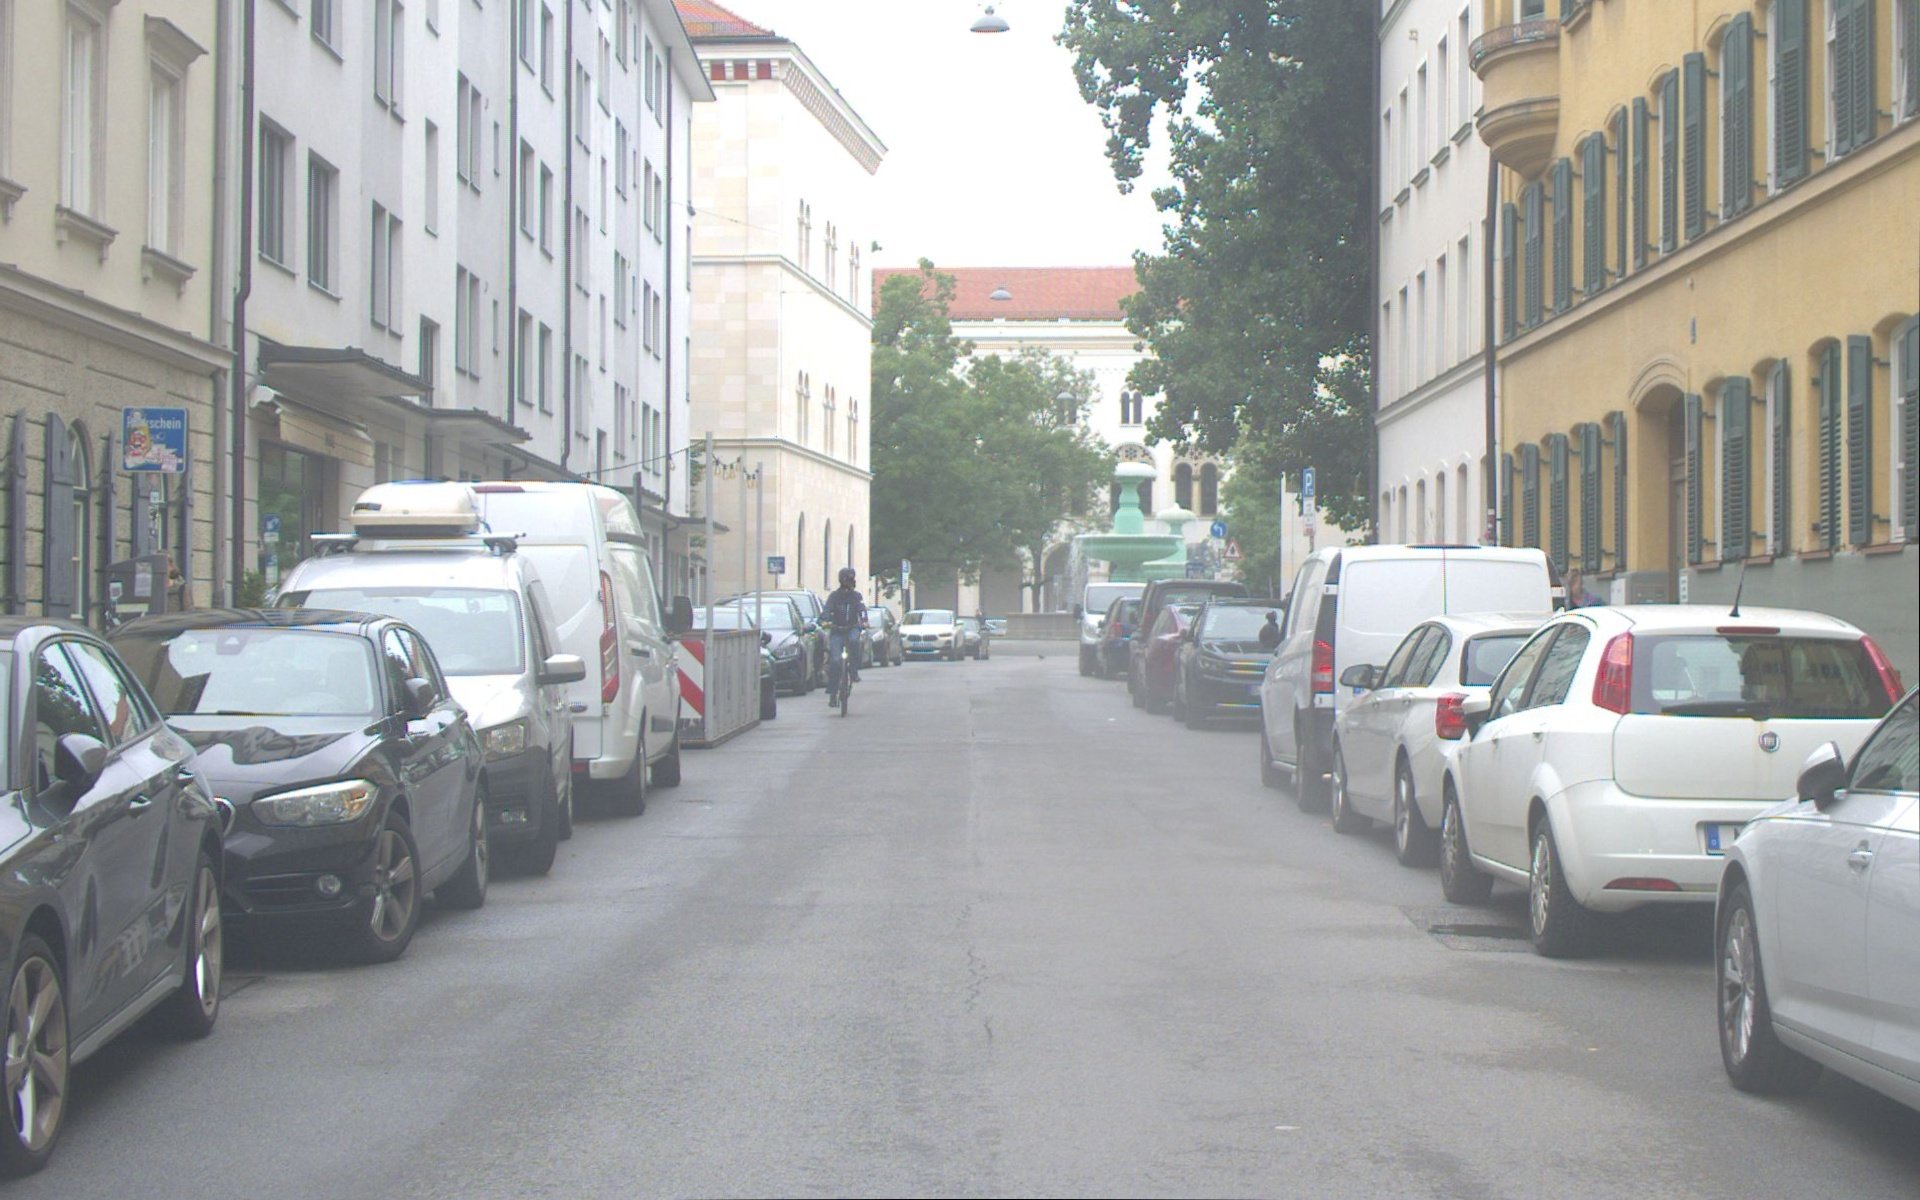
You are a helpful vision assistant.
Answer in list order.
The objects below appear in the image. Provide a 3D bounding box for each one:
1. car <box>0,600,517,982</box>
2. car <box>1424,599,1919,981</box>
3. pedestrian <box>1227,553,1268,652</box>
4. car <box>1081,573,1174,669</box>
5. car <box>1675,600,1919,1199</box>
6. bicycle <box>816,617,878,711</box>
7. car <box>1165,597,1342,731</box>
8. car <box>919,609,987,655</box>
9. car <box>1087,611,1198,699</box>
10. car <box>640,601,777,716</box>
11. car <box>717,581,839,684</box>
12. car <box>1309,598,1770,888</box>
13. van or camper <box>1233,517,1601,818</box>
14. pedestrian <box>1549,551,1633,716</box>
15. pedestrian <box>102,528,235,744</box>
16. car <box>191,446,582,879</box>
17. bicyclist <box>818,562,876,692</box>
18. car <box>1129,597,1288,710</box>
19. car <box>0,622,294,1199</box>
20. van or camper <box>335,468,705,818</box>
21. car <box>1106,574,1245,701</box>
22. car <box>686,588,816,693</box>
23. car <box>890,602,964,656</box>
[{"bbox_3d":[-3.124,0.725,15.136,1.857,1.397,4.269,1,0,-1],"label":"car"},{"bbox_3d":[3.190,0.757,15.581,1.623,1.505,3.761,0,0,0],"label":"car"},{"bbox_3d":[6.429,0.064,76.945,0.793,2.190,0.813,1,0,0],"label":"pedestrian"},{"bbox_3d":[3.516,0.434,72.481,1.882,1.918,4.874,1,0,3],"label":"car"},{"bbox_3d":[3.168,0.764,8.916,1.717,1.505,4.469,0,0,0],"label":"car"},{"bbox_3d":[-1.432,0.803,43.714,0.732,1.147,1.999,1,0,-1],"label":"bicycle"},{"bbox_3d":[3.385,0.708,40.203,1.746,1.459,4.000,0,0,0],"label":"car"},{"bbox_3d":[-0.209,1.036,108.283,1.699,1.388,4.210,-1,-1,6],"label":"car"},{"bbox_3d":[3.499,1.043,66.592,1.807,1.595,4.215,1,0,-1],"label":"car"},{"bbox_3d":[-3.194,0.707,43.770,1.638,1.350,4.059,-1,0,-4],"label":"car"},{"bbox_3d":[-3.105,0.524,59.508,1.872,1.682,4.520,-1,0,0],"label":"car"},{"bbox_3d":[3.276,0.751,20.327,1.816,1.505,4.588,0,0,-2],"label":"car"},{"bbox_3d":[3.282,0.447,25.751,1.993,2.007,5.233,0,0,-1],"label":"van or camper"},{"bbox_3d":[6.387,0.332,34.826,0.597,1.633,0.896,-2,0,-2],"label":"pedestrian"},{"bbox_3d":[-6.379,0.282,27.749,0.805,1.706,1.021,0,0,2],"label":"pedestrian"},{"bbox_3d":[-3.203,0.318,19.991,1.857,2.194,4.562,1,0,-5],"label":"car"},{"bbox_3d":[-1.440,0.338,43.803,0.686,1.622,0.853,1,0,-1],"label":"bicyclist"},{"bbox_3d":[3.249,0.688,45.722,1.713,1.419,4.458,1,0,-1],"label":"car"},{"bbox_3d":[-3.241,0.782,9.962,1.857,1.397,4.269,1,0,-1],"label":"car"},{"bbox_3d":[-3.121,0.271,25.533,1.993,2.303,5.478,0,0,0],"label":"van or camper"},{"bbox_3d":[3.226,0.571,52.223,1.846,1.770,4.201,3,-1,1],"label":"car"},{"bbox_3d":[-3.238,0.605,53.887,1.773,1.534,4.159,-1,0,0],"label":"car"},{"bbox_3d":[-0.953,0.887,101.933,1.778,1.530,4.210,-1,-1,5],"label":"car"}]
